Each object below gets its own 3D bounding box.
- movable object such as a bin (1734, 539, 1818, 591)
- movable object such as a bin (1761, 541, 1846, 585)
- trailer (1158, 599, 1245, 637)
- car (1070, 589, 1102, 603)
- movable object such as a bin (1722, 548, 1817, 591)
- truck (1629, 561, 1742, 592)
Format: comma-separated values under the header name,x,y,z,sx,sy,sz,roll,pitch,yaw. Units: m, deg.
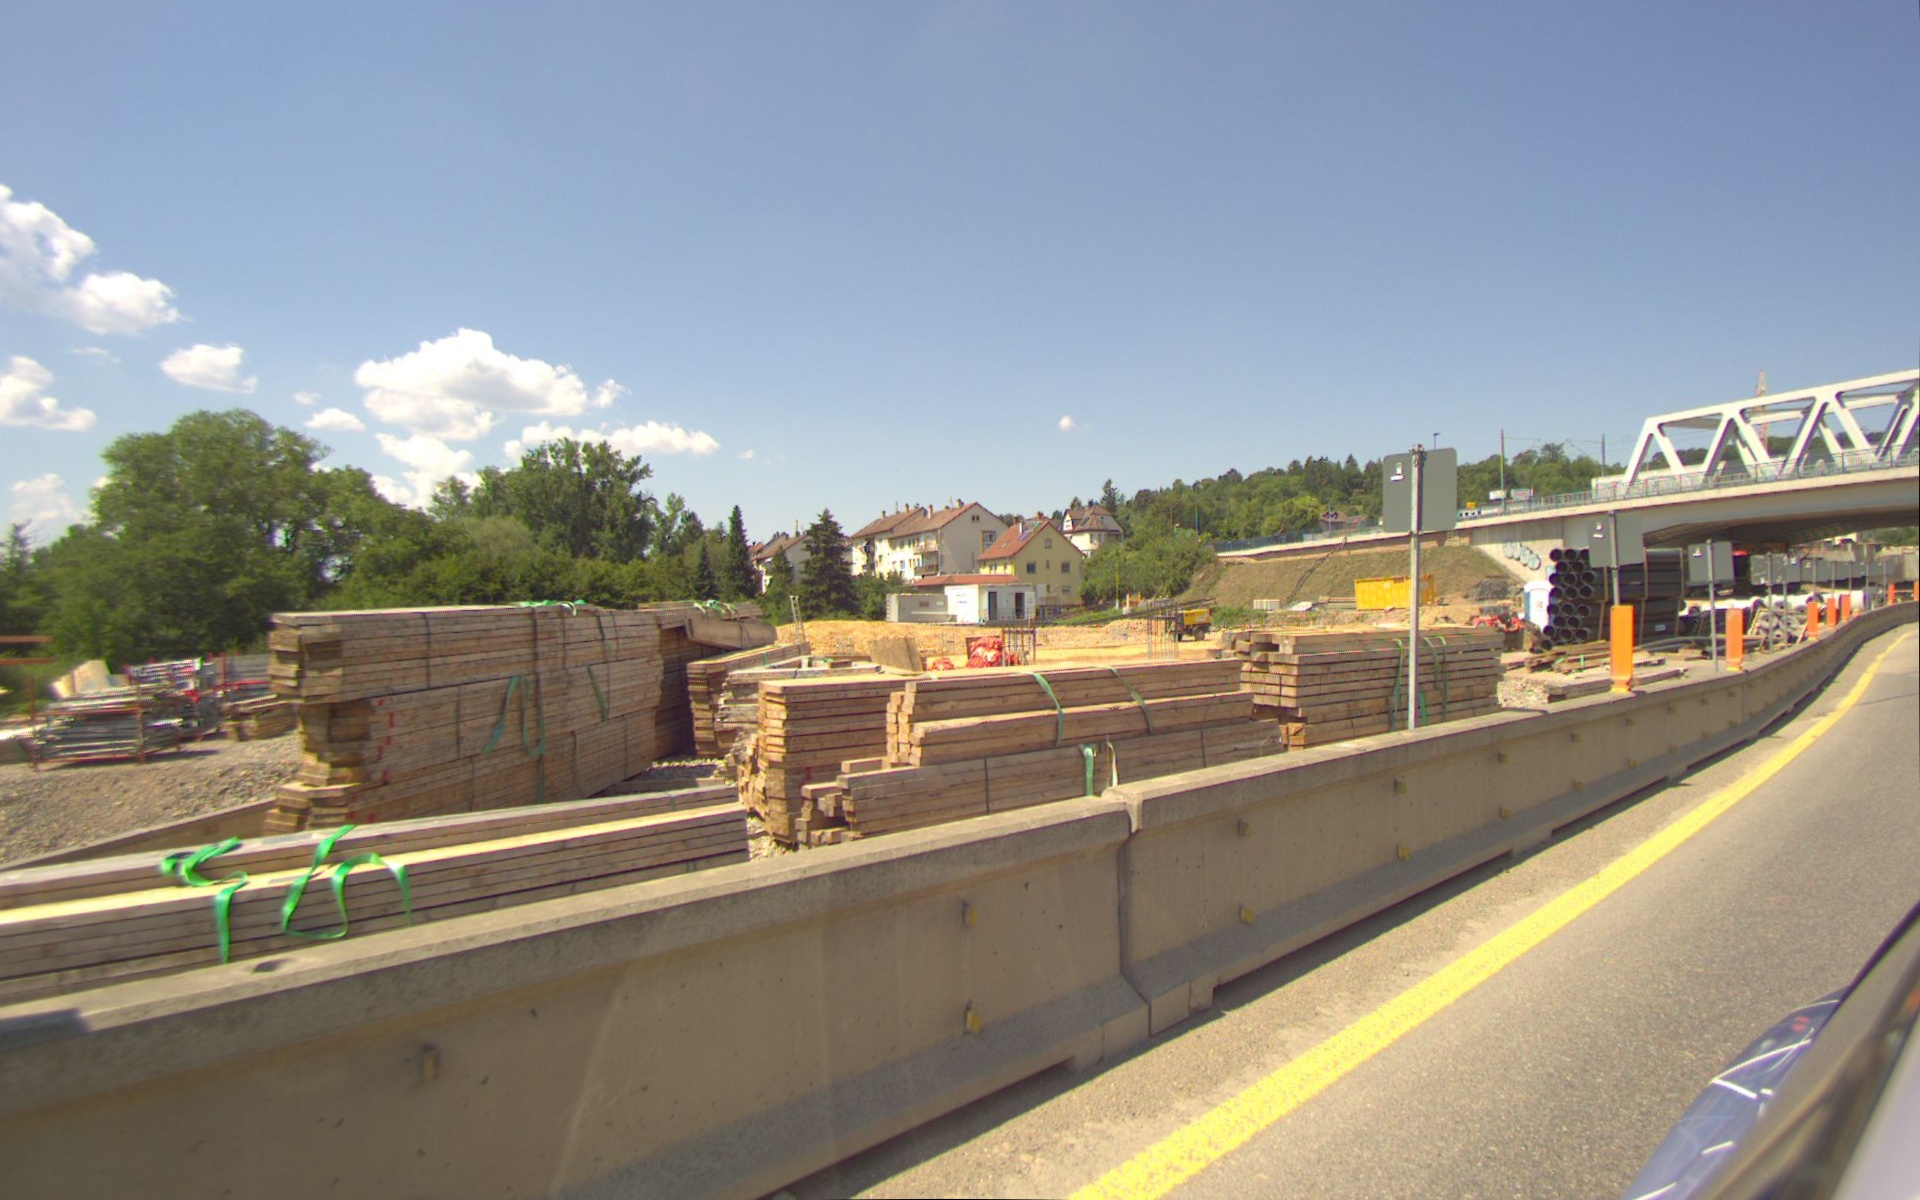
name,x,y,z,sx,sy,sz,roll,pitch,yaw
movable object such as a bin,62.068,-2.637,77.078,2.843,3.586,3.901,-4,1,-20
movable object such as a bin,70.492,-3.042,84.669,2.931,3.327,4.574,-5,1,-27
trailer,10.732,0.778,44.901,3.755,1.504,1.628,-3,1,-35
car,14.960,-0.461,120.561,1.547,1.526,4.173,-5,3,-28
movable object such as a bin,64.533,-2.389,80.801,2.447,3.094,5.263,-5,1,-27
truck,55.804,-1.791,78.006,2.612,2.099,6.550,-3,1,-28
